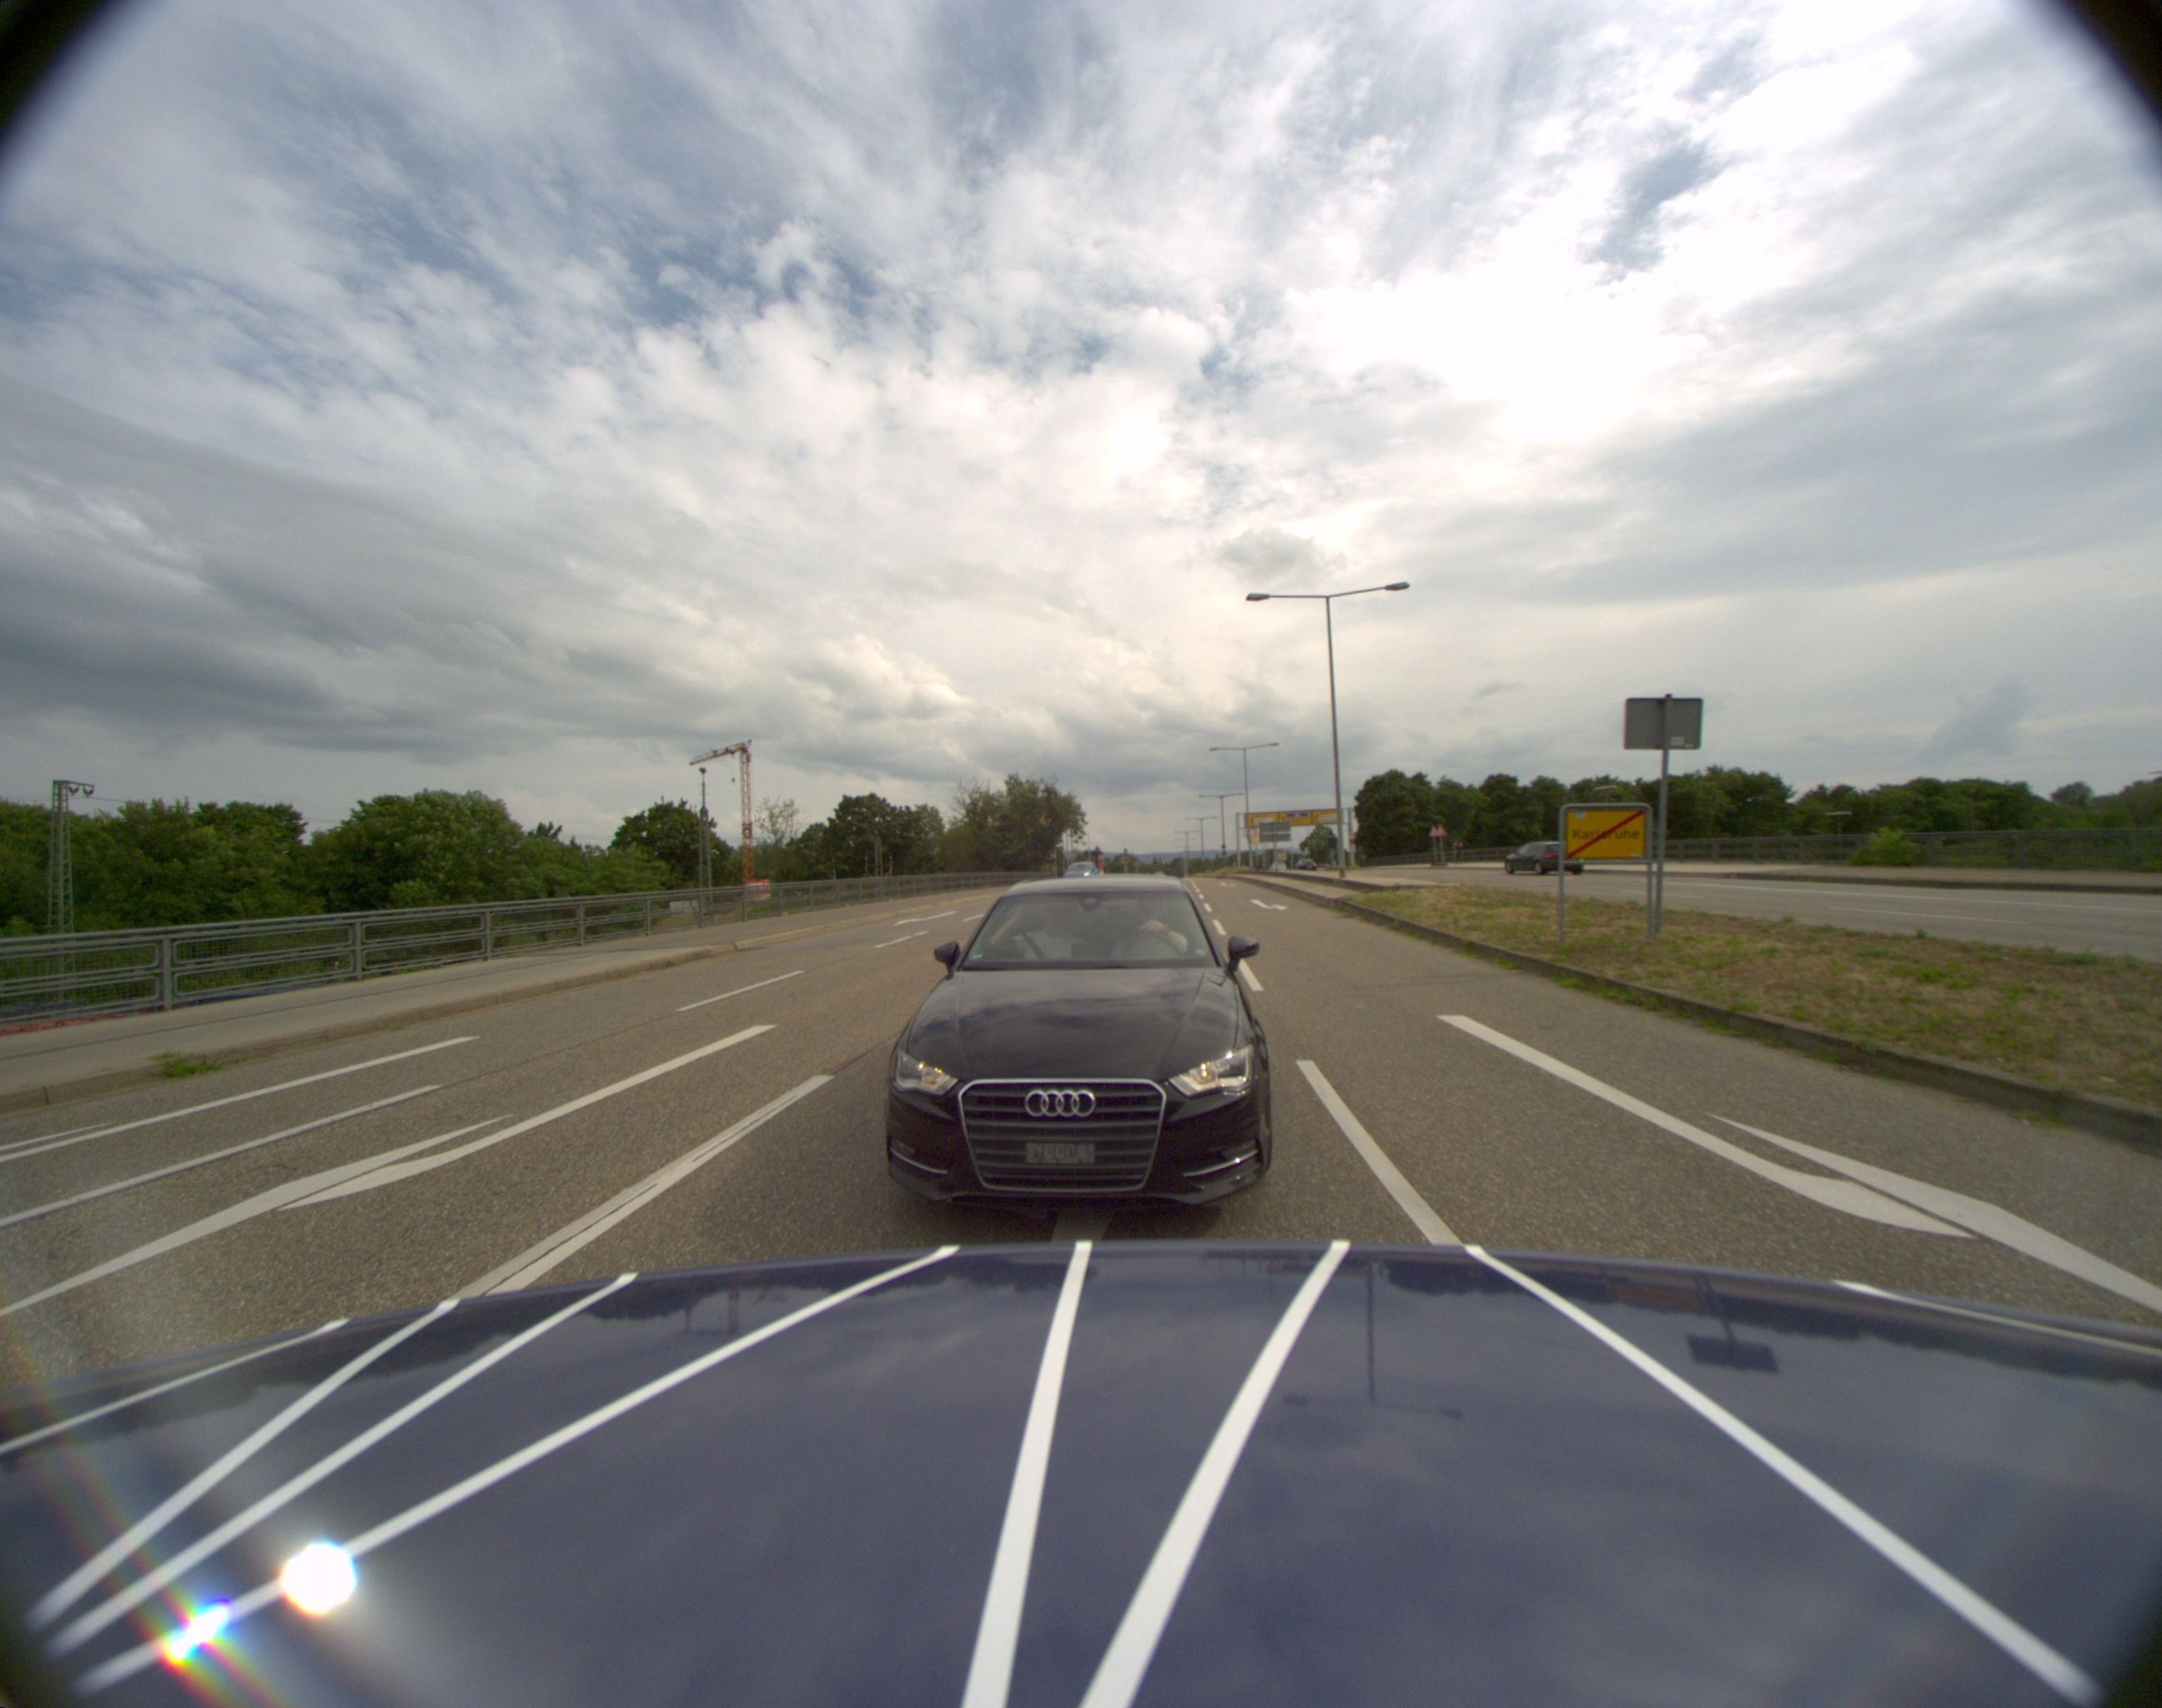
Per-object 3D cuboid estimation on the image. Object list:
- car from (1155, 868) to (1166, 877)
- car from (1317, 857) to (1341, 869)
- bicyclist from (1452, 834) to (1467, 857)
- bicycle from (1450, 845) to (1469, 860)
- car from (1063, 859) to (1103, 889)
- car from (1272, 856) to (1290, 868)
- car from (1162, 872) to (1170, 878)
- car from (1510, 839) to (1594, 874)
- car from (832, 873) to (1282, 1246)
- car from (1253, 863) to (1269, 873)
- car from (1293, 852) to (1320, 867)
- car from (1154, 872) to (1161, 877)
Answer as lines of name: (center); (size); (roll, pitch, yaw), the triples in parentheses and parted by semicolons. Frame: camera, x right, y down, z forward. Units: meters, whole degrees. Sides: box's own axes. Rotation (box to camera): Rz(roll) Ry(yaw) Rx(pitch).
car: (14.583, 3.376, 138.591); (1.860, 1.335, 4.002); (-2, 0, 7)
car: (36.958, 1.311, 113.228); (4.087, 1.649, 1.742); (-1, 1, -44)
bicyclist: (27.802, -0.592, 55.784); (0.685, 1.662, 0.848); (-3, 0, 10)
bicycle: (27.818, -0.091, 55.836); (0.685, 1.047, 1.996); (-3, 0, 10)
car: (0.151, 1.163, 45.875); (1.724, 1.512, 3.952); (-4, 0, 9)
car: (25.327, 1.039, 96.178); (1.619, 1.402, 3.862); (-1, 0, 6)
car: (21.156, 5.137, 188.046); (1.860, 1.335, 4.002); (-2, 0, 7)
car: (20.814, 0.107, 33.755); (1.796, 1.410, 4.003); (-2, 0, 10)
car: (0.150, 0.927, 5.531); (1.851, 1.355, 4.731); (-2, 0, 7)
car: (26.576, 2.012, 112.364); (1.745, 1.402, 3.878); (-1, 0, 5)
car: (23.393, 0.544, 78.923); (1.825, 1.438, 4.354); (-2, 0, 5)
car: (22.099, 5.975, 219.785); (1.860, 1.335, 4.002); (-2, 0, 7)
